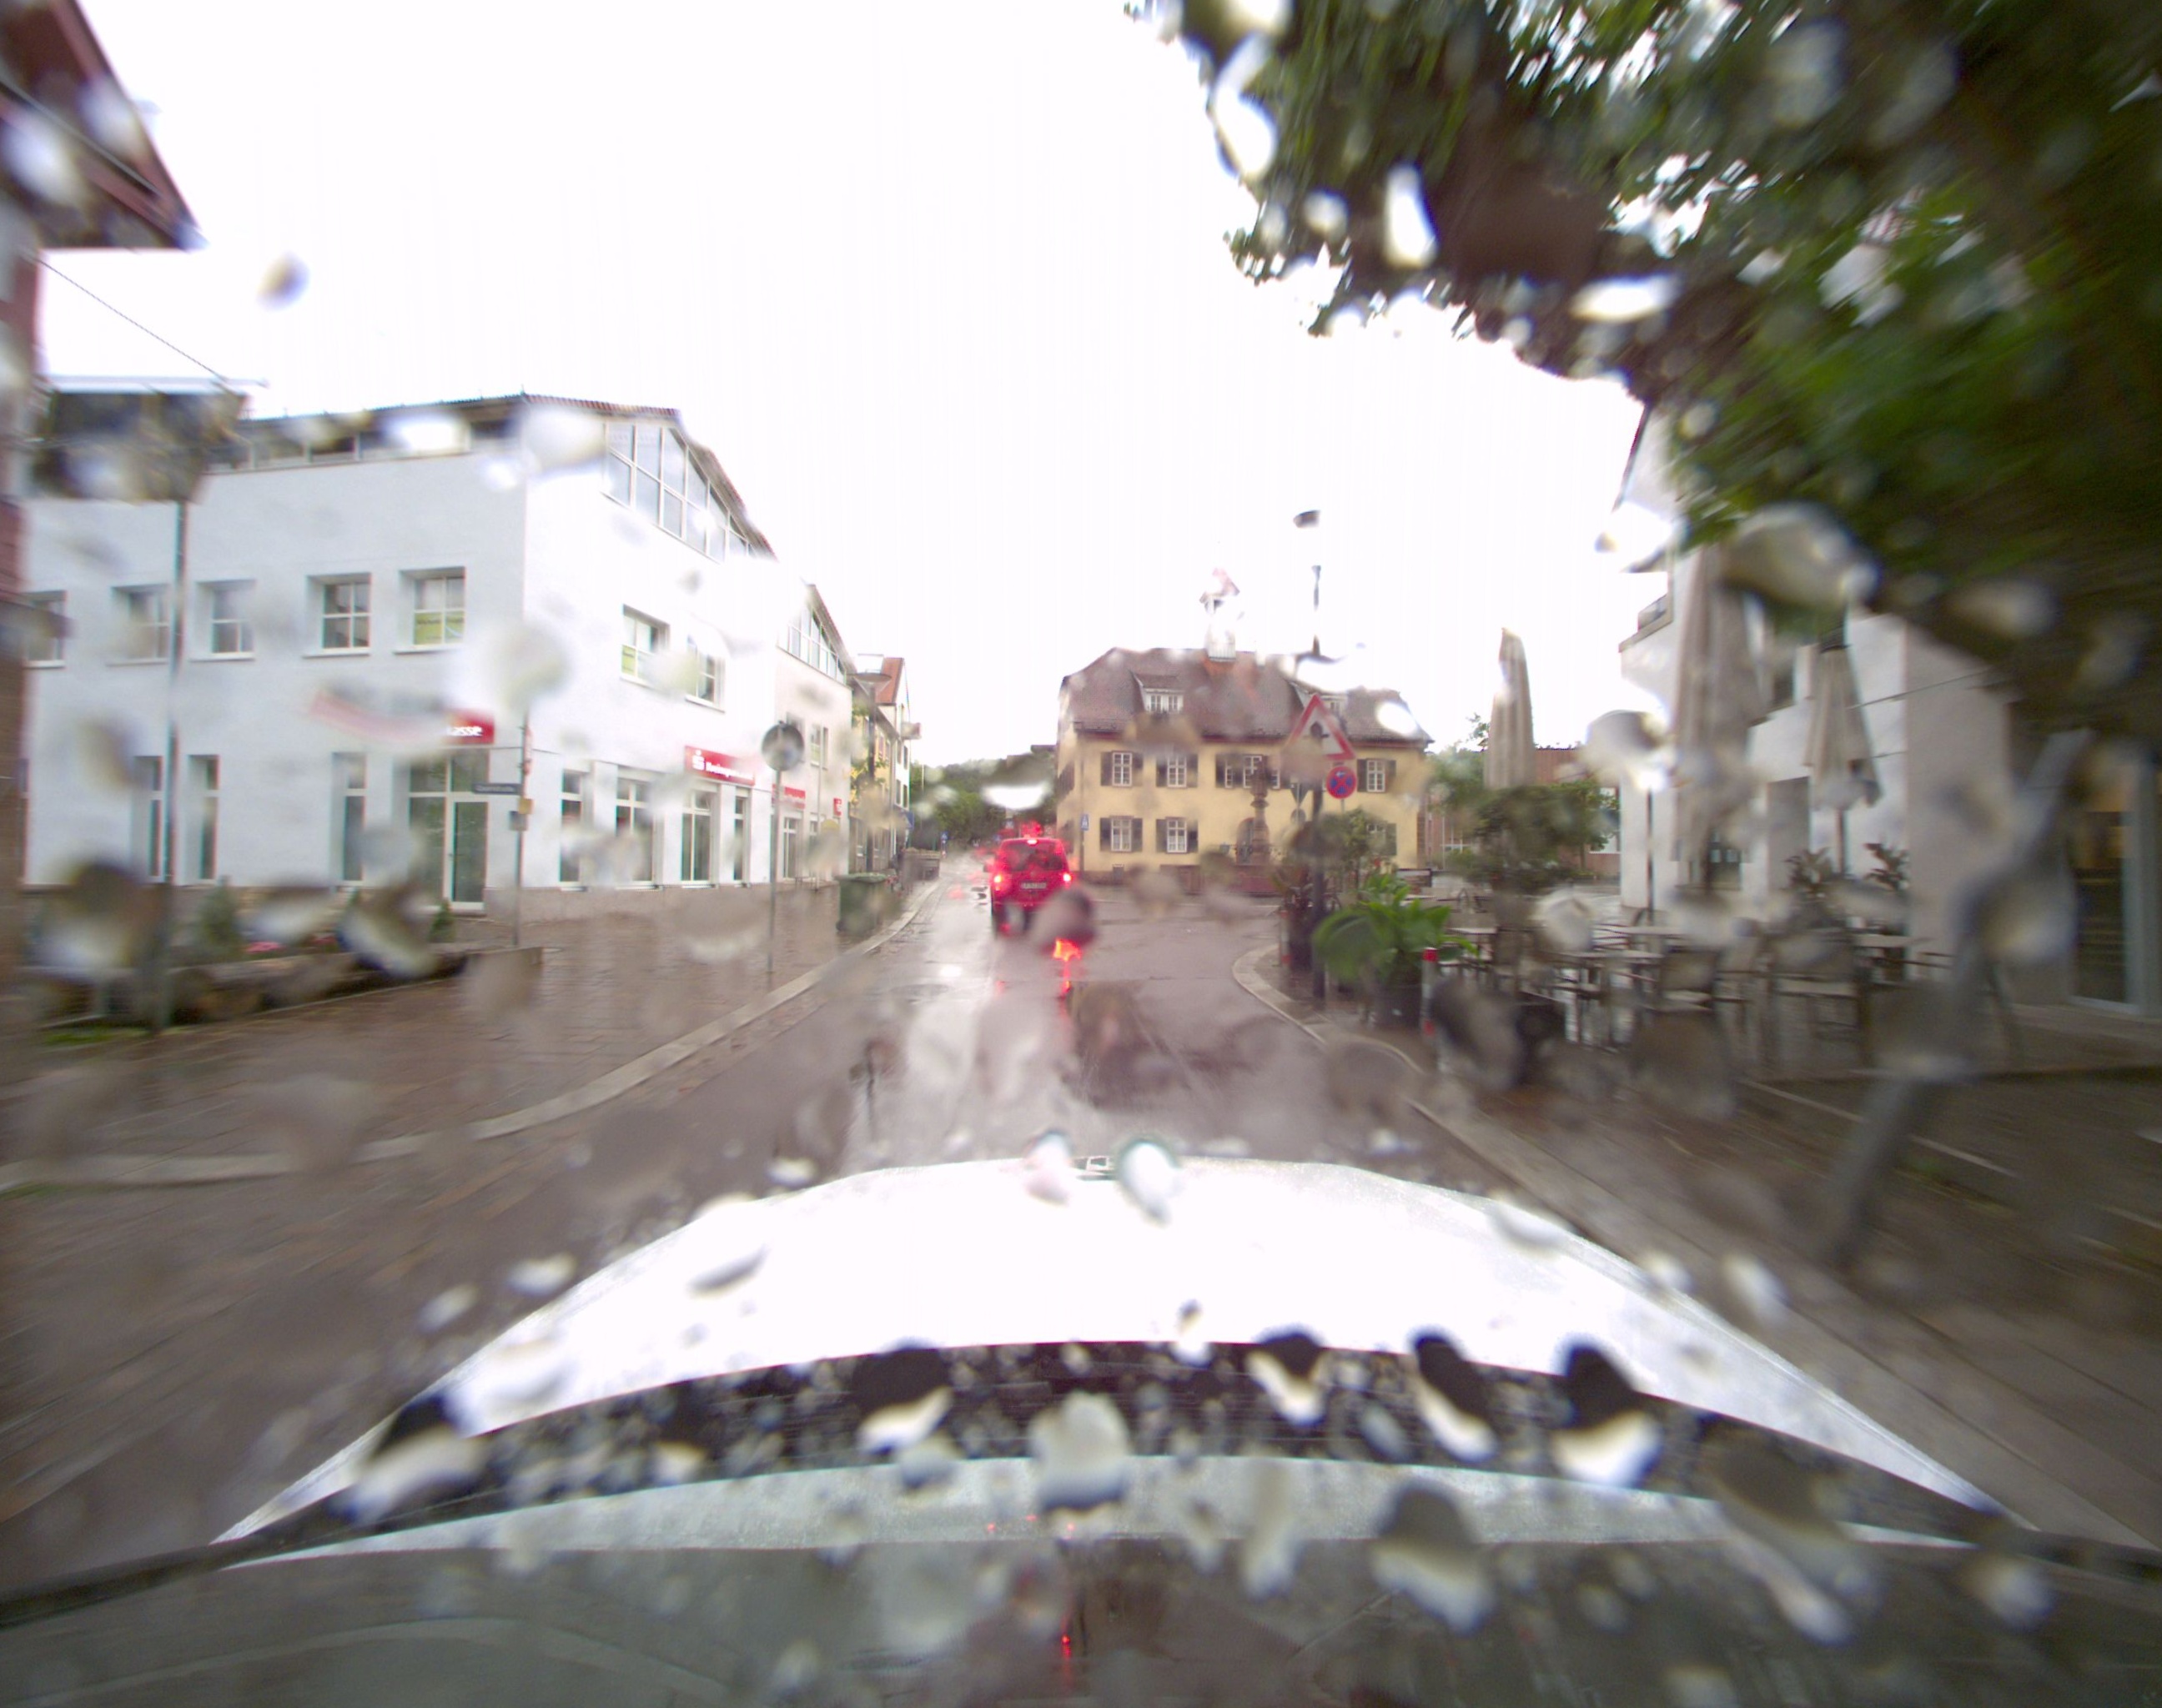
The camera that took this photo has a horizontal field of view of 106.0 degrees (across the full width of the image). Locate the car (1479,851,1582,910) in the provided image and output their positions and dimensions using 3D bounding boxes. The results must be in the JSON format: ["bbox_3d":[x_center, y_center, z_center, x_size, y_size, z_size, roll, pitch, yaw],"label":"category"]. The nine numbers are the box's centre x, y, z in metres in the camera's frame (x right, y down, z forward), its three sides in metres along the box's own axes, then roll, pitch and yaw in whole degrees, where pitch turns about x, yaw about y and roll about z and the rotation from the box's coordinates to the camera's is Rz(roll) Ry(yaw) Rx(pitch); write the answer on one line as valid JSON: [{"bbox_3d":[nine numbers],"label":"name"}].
[{"bbox_3d":[15.050,0.898,27.202,4.022,1.799,1.975,3,-3,-45],"label":"car"}]

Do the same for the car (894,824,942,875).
[{"bbox_3d":[-9.033,-0.131,45.633,2.299,2.602,6.934,2,-2,-9],"label":"car"}]

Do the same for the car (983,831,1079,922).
[{"bbox_3d":[-1.228,0.437,18.460,1.892,1.811,3.991,2,0,-7],"label":"car"}]

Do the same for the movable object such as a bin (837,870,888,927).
[{"bbox_3d":[-4.386,0.893,16.374,0.791,1.106,0.722,1,-2,0],"label":"movable object such as a bin"}]

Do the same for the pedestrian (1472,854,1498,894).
[{"bbox_3d":[19.220,0.955,38.748,0.893,1.842,0.768,1,-2,8],"label":"pedestrian"}]

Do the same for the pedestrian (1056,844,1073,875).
[{"bbox_3d":[-1.007,0.351,49.667,0.759,1.842,0.904,1,-2,12],"label":"pedestrian"}]

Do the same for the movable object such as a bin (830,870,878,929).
[{"bbox_3d":[-4.356,0.871,15.664,0.712,1.106,0.600,1,-2,0],"label":"movable object such as a bin"}]
